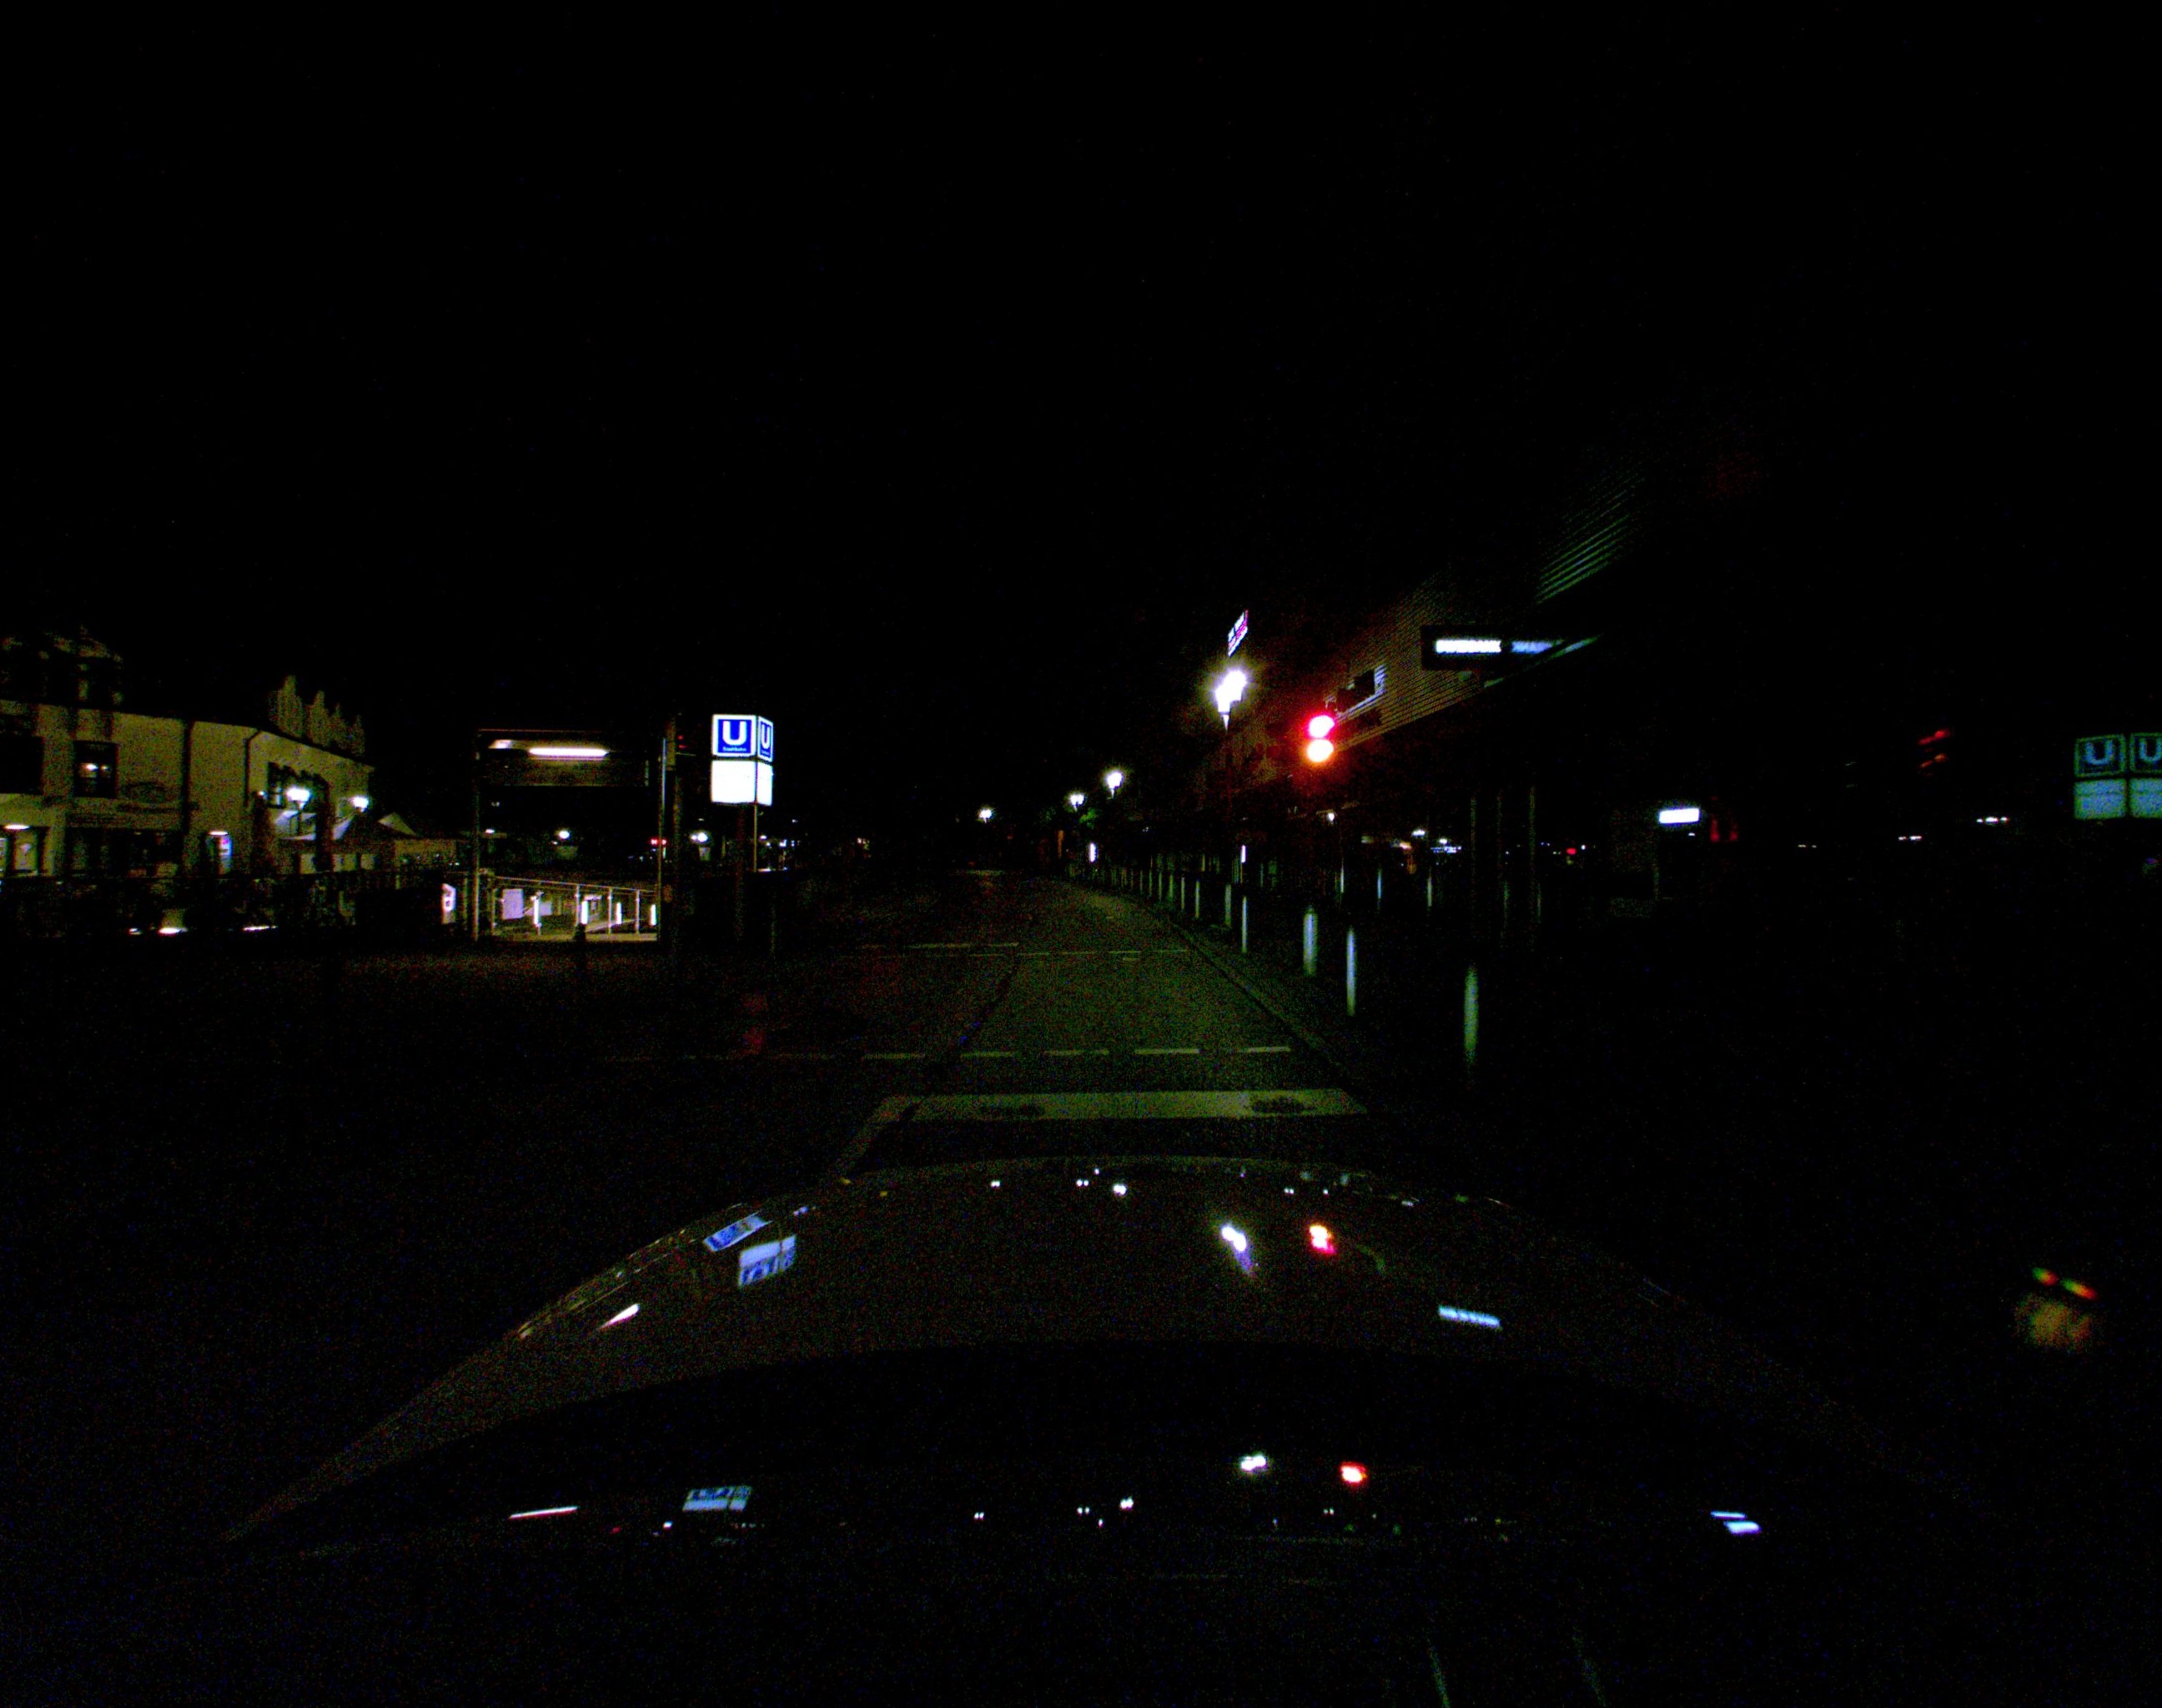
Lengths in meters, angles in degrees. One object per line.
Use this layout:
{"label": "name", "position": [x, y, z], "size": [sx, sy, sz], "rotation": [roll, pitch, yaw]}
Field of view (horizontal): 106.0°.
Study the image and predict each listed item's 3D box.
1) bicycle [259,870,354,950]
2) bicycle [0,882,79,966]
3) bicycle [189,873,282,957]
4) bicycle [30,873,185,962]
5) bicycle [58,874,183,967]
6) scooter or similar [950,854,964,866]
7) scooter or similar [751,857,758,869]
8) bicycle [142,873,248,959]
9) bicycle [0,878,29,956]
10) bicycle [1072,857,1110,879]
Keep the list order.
{"label": "bicycle", "position": [-12.786, 0.879, 13.506], "size": [0.764, 1.162, 1.730], "rotation": [-1, 1, -31]}
{"label": "bicycle", "position": [-15.259, 0.978, 11.695], "size": [0.611, 1.069, 1.728], "rotation": [-1, 1, -35]}
{"label": "bicycle", "position": [-13.121, 0.901, 12.688], "size": [0.547, 1.154, 1.730], "rotation": [-1, 1, -31]}
{"label": "bicycle", "position": [-14.681, 0.916, 12.356], "size": [0.608, 1.165, 1.738], "rotation": [-1, 1, -16]}
{"label": "bicycle", "position": [-13.798, 0.909, 11.758], "size": [0.611, 1.165, 1.730], "rotation": [-1, 1, -31]}
{"label": "scooter or similar", "position": [-12.475, 0.601, 81.991], "size": [1.253, 1.227, 0.593], "rotation": [1, 0, -27]}
{"label": "scooter or similar", "position": [-33.159, 0.910, 82.746], "size": [0.433, 1.284, 1.135], "rotation": [-1, 1, -33]}
{"label": "bicycle", "position": [-13.626, 0.905, 12.577], "size": [0.611, 1.165, 1.730], "rotation": [-1, 1, -31]}
{"label": "bicycle", "position": [-16.075, 0.945, 11.469], "size": [0.608, 1.125, 1.737], "rotation": [-1, 1, -16]}
{"label": "bicycle", "position": [0.477, 0.671, 39.446], "size": [1.757, 1.062, 0.650], "rotation": [0, 0, -24]}
